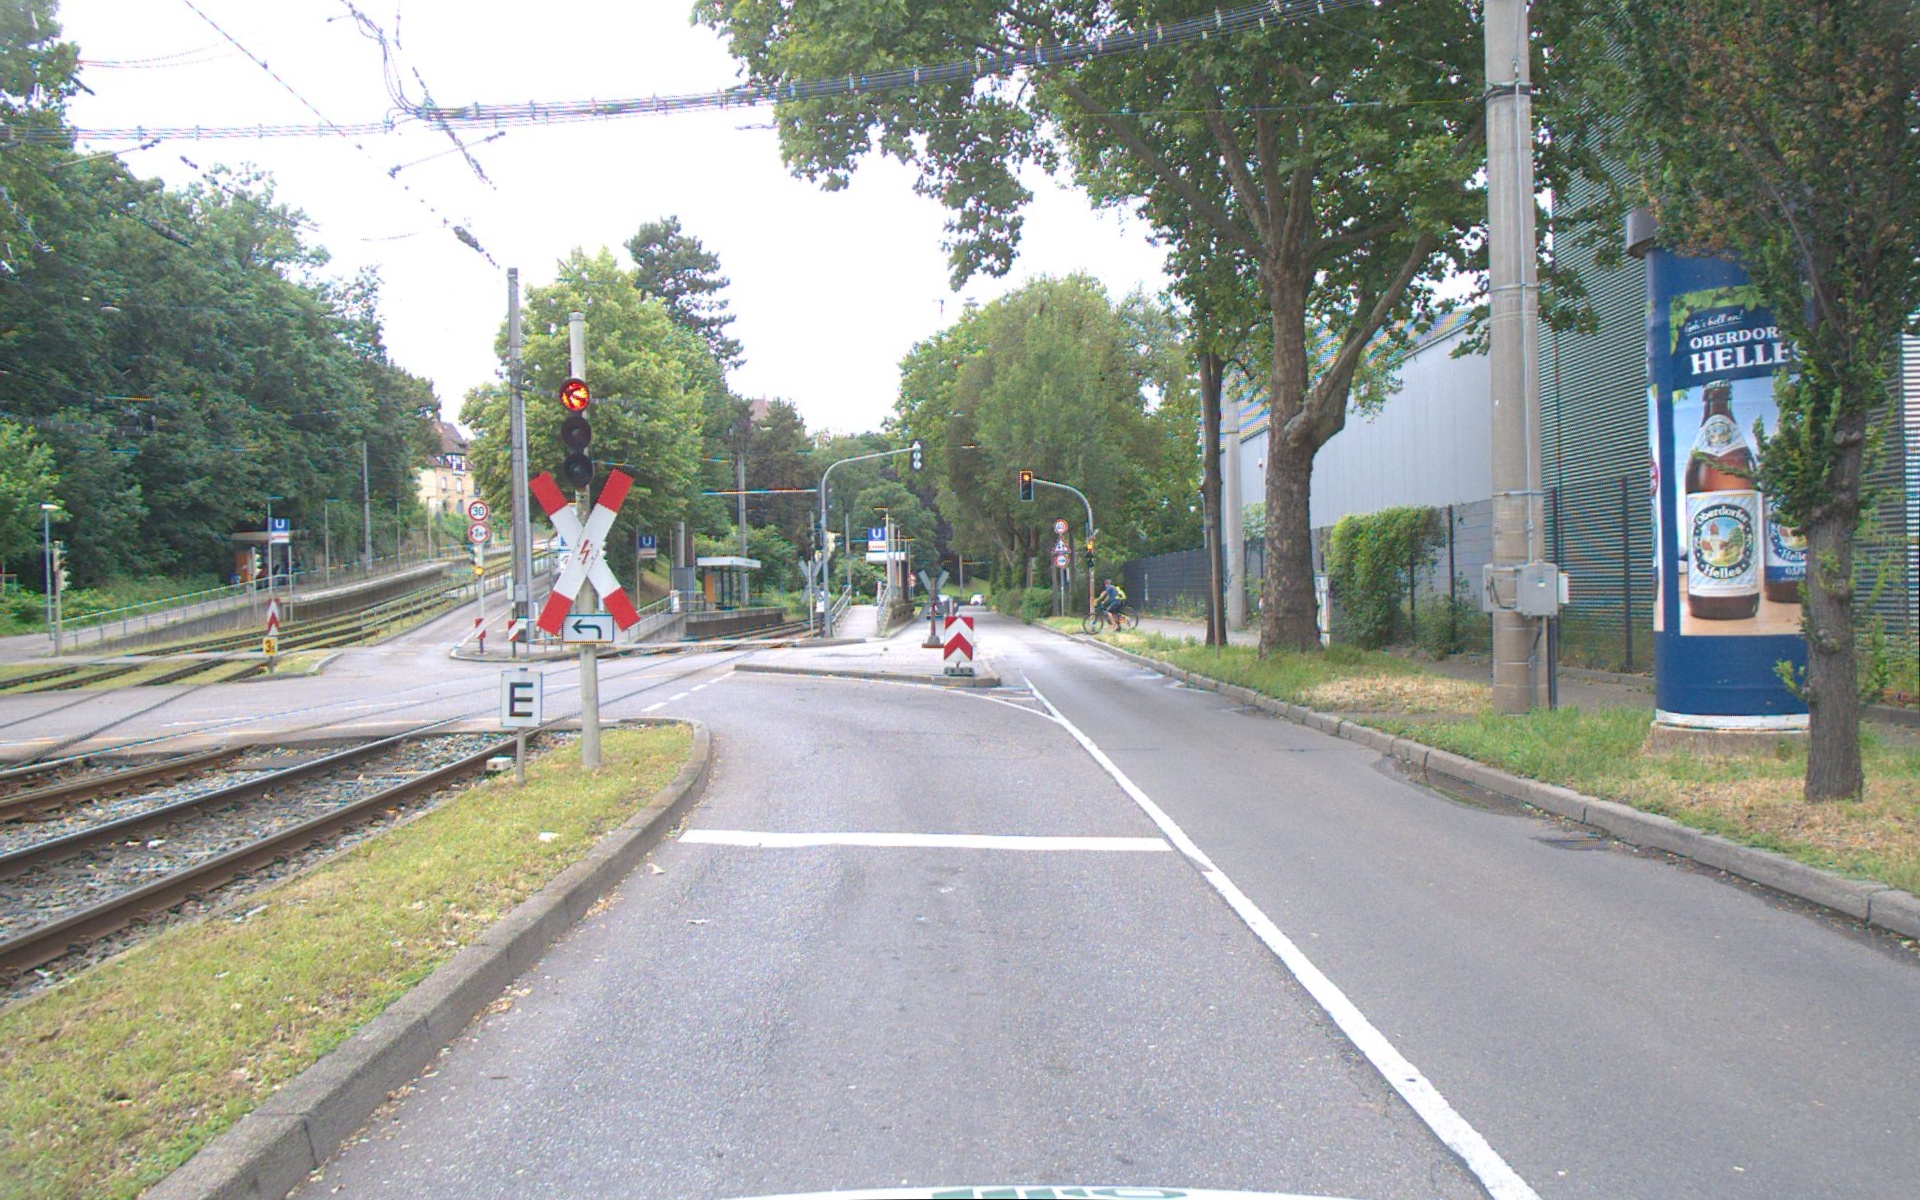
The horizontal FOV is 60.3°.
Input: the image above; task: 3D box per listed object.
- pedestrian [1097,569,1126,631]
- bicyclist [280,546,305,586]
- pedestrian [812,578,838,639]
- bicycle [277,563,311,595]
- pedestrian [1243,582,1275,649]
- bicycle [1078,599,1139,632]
[{"bbox_3d":[5.137,-0.006,56.083,0.911,2.049,0.668,-2,0,5],"label":"pedestrian"},{"bbox_3d":[-31.800,-1.627,78.811,0.806,1.881,1.050,-1,3,-9],"label":"bicyclist"},{"bbox_3d":[-4.251,0.279,52.179,0.753,1.885,0.909,-2,0,-4],"label":"pedestrian"},{"bbox_3d":[-31.811,-1.009,79.001,0.809,1.366,2.991,-2,3,-9],"label":"bicycle"},{"bbox_3d":[7.222,0.376,39.970,0.652,1.580,0.935,-2,0,5],"label":"pedestrian"},{"bbox_3d":[5.031,0.527,56.057,2.030,1.024,0.668,-2,0,5],"label":"bicycle"}]
